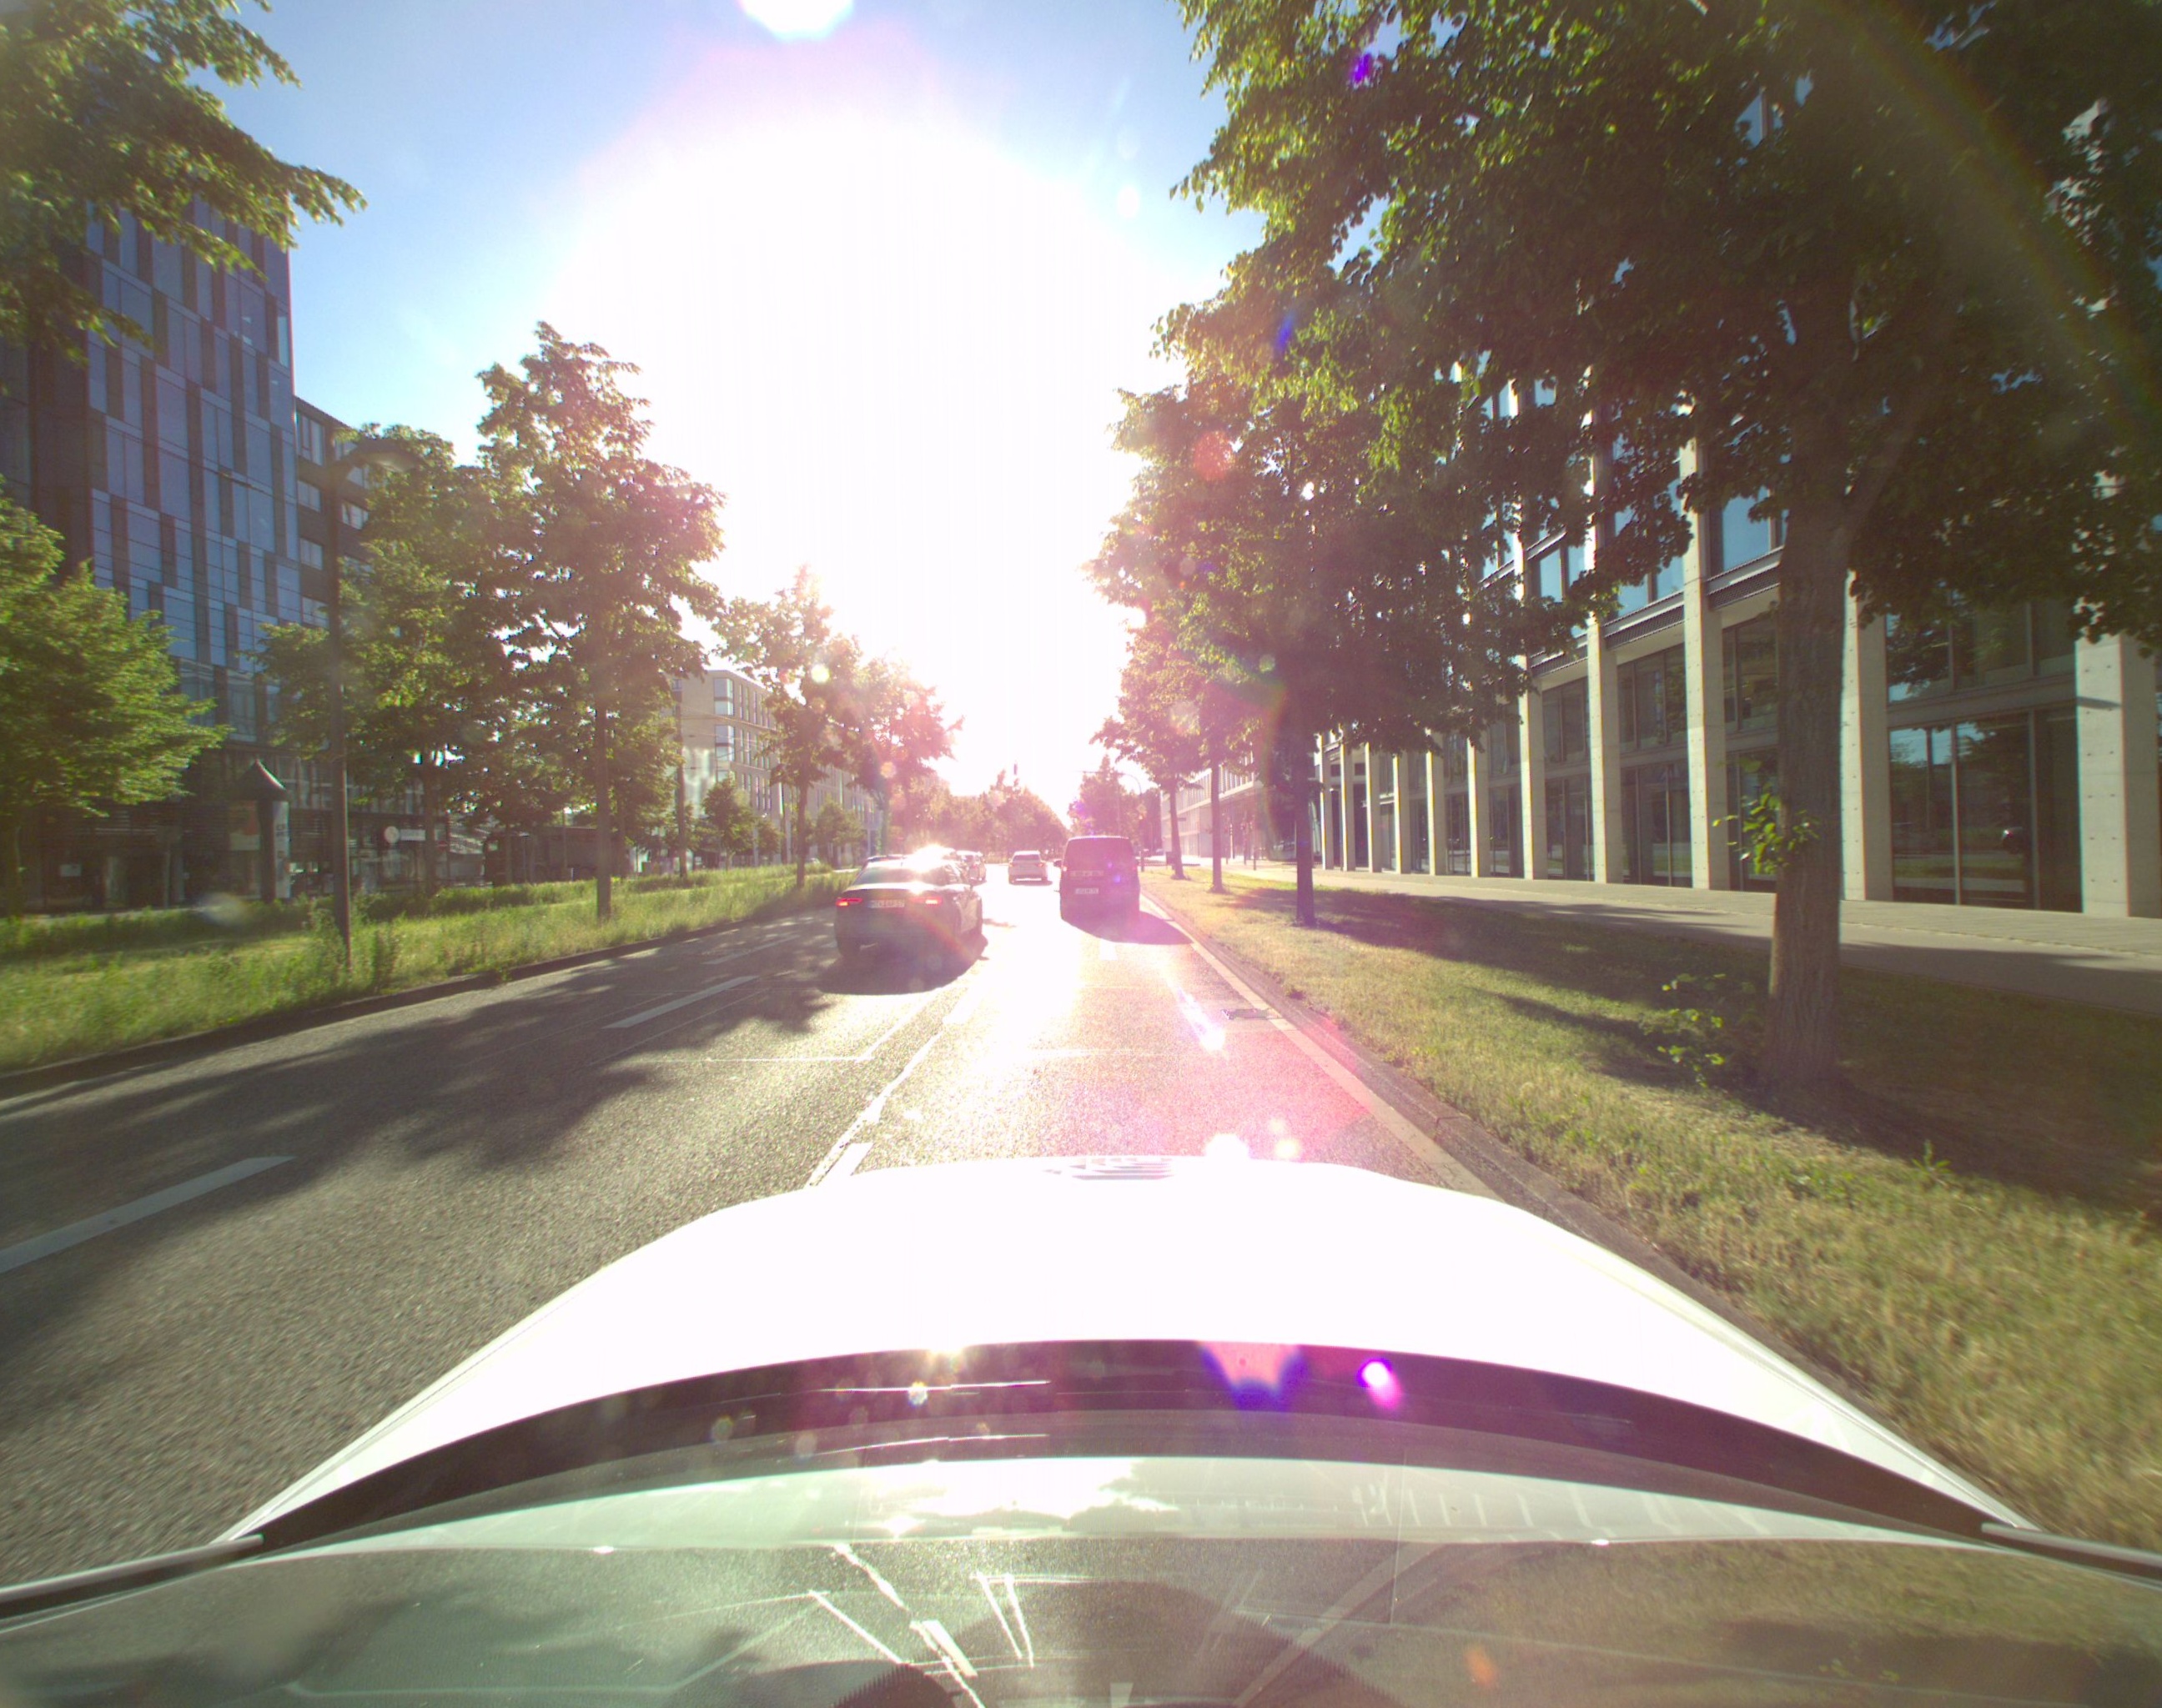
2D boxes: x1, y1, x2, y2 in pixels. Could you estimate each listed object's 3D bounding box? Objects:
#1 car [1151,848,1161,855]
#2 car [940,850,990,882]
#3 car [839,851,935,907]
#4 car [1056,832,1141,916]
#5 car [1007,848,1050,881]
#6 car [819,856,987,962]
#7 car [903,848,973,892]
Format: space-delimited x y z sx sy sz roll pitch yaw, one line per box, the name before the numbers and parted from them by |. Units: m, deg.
car | 15.871 -0.531 173.054 1.560 1.368 3.328 -2 0 -4
car | -5.476 0.536 38.964 1.709 1.398 4.001 -1 0 1
car | -5.665 0.678 24.272 1.937 1.441 3.998 -2 0 -2
car | 0.454 0.408 19.197 1.791 1.777 4.002 0 0 2
car | -2.426 0.451 38.227 1.715 1.425 3.816 -1 0 0
car | -2.657 0.756 13.147 1.715 1.366 4.146 -1 0 1
car | -5.341 0.580 30.882 1.836 1.534 3.941 -1 0 2
